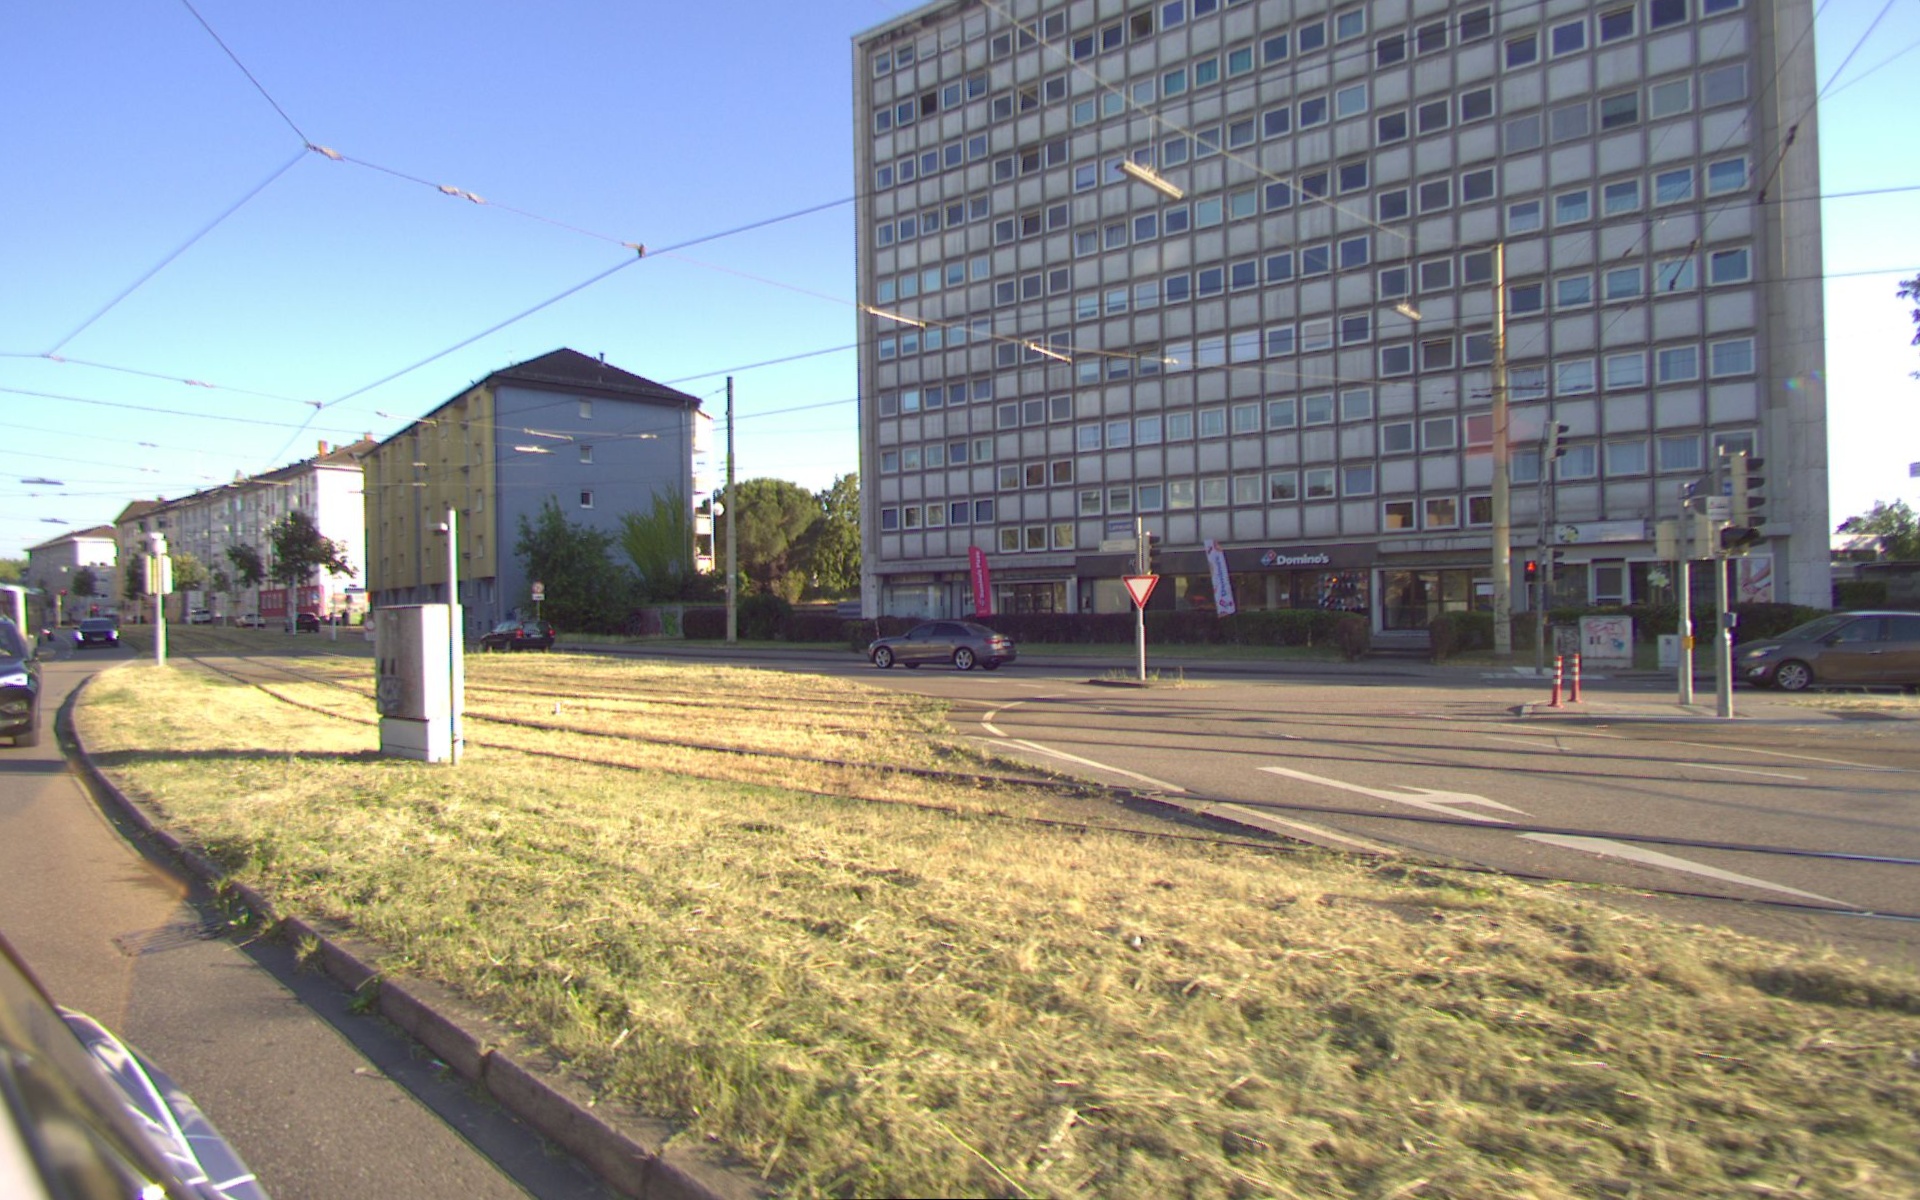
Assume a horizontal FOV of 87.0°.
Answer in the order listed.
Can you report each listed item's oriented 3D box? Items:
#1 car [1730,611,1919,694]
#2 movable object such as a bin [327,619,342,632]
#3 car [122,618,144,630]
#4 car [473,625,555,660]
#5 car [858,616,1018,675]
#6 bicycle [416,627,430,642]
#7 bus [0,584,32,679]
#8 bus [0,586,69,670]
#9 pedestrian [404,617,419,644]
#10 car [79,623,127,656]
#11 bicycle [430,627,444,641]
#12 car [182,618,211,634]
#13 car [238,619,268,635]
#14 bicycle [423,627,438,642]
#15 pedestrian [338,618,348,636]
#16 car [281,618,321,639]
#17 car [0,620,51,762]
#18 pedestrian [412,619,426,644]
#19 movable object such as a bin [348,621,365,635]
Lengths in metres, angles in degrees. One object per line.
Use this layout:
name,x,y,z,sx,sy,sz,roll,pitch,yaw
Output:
car,18.596,1.041,20.762,4.122,1.607,1.574,-1,0,21
movable object such as a bin,-62.686,2.581,101.460,0.806,1.296,1.145,-1,0,43
car,-109.462,3.184,133.940,4.798,1.480,1.773,0,-2,45
car,-20.101,1.883,45.551,4.399,1.493,1.757,-1,-2,42
car,-0.682,1.302,30.011,4.566,1.608,1.641,-1,-1,29
bicycle,-37.867,2.427,71.361,0.422,0.932,1.914,-5,2,-41
bus,-32.679,1.020,32.687,2.688,3.100,10.626,0,0,-35
bus,-38.912,1.054,41.351,2.669,3.100,10.626,0,0,-35
pedestrian,-37.635,2.067,69.397,0.586,1.786,0.886,-6,3,-43
car,-48.702,2.231,57.526,1.969,1.785,4.006,1,-2,-40
bicycle,-35.658,2.307,69.029,0.422,0.967,1.914,0,-1,-41
car,-93.164,3.160,123.497,4.417,1.843,1.848,-1,-2,40
car,-67.944,2.623,97.225,1.678,1.471,4.318,2,-2,-45
bicycle,-36.914,2.391,70.506,0.422,0.932,1.914,-5,2,-41
pedestrian,-57.924,2.514,94.962,0.791,1.702,0.607,-2,-1,42
car,-54.075,2.315,83.016,1.895,1.674,4.712,1,-2,-44
car,-12.978,1.096,12.961,1.761,1.636,4.224,1,-2,-39
pedestrian,-37.625,2.193,70.384,0.609,1.707,0.707,-6,3,-43
movable object such as a bin,-60.671,2.818,101.762,1.108,1.426,1.203,-1,0,43
